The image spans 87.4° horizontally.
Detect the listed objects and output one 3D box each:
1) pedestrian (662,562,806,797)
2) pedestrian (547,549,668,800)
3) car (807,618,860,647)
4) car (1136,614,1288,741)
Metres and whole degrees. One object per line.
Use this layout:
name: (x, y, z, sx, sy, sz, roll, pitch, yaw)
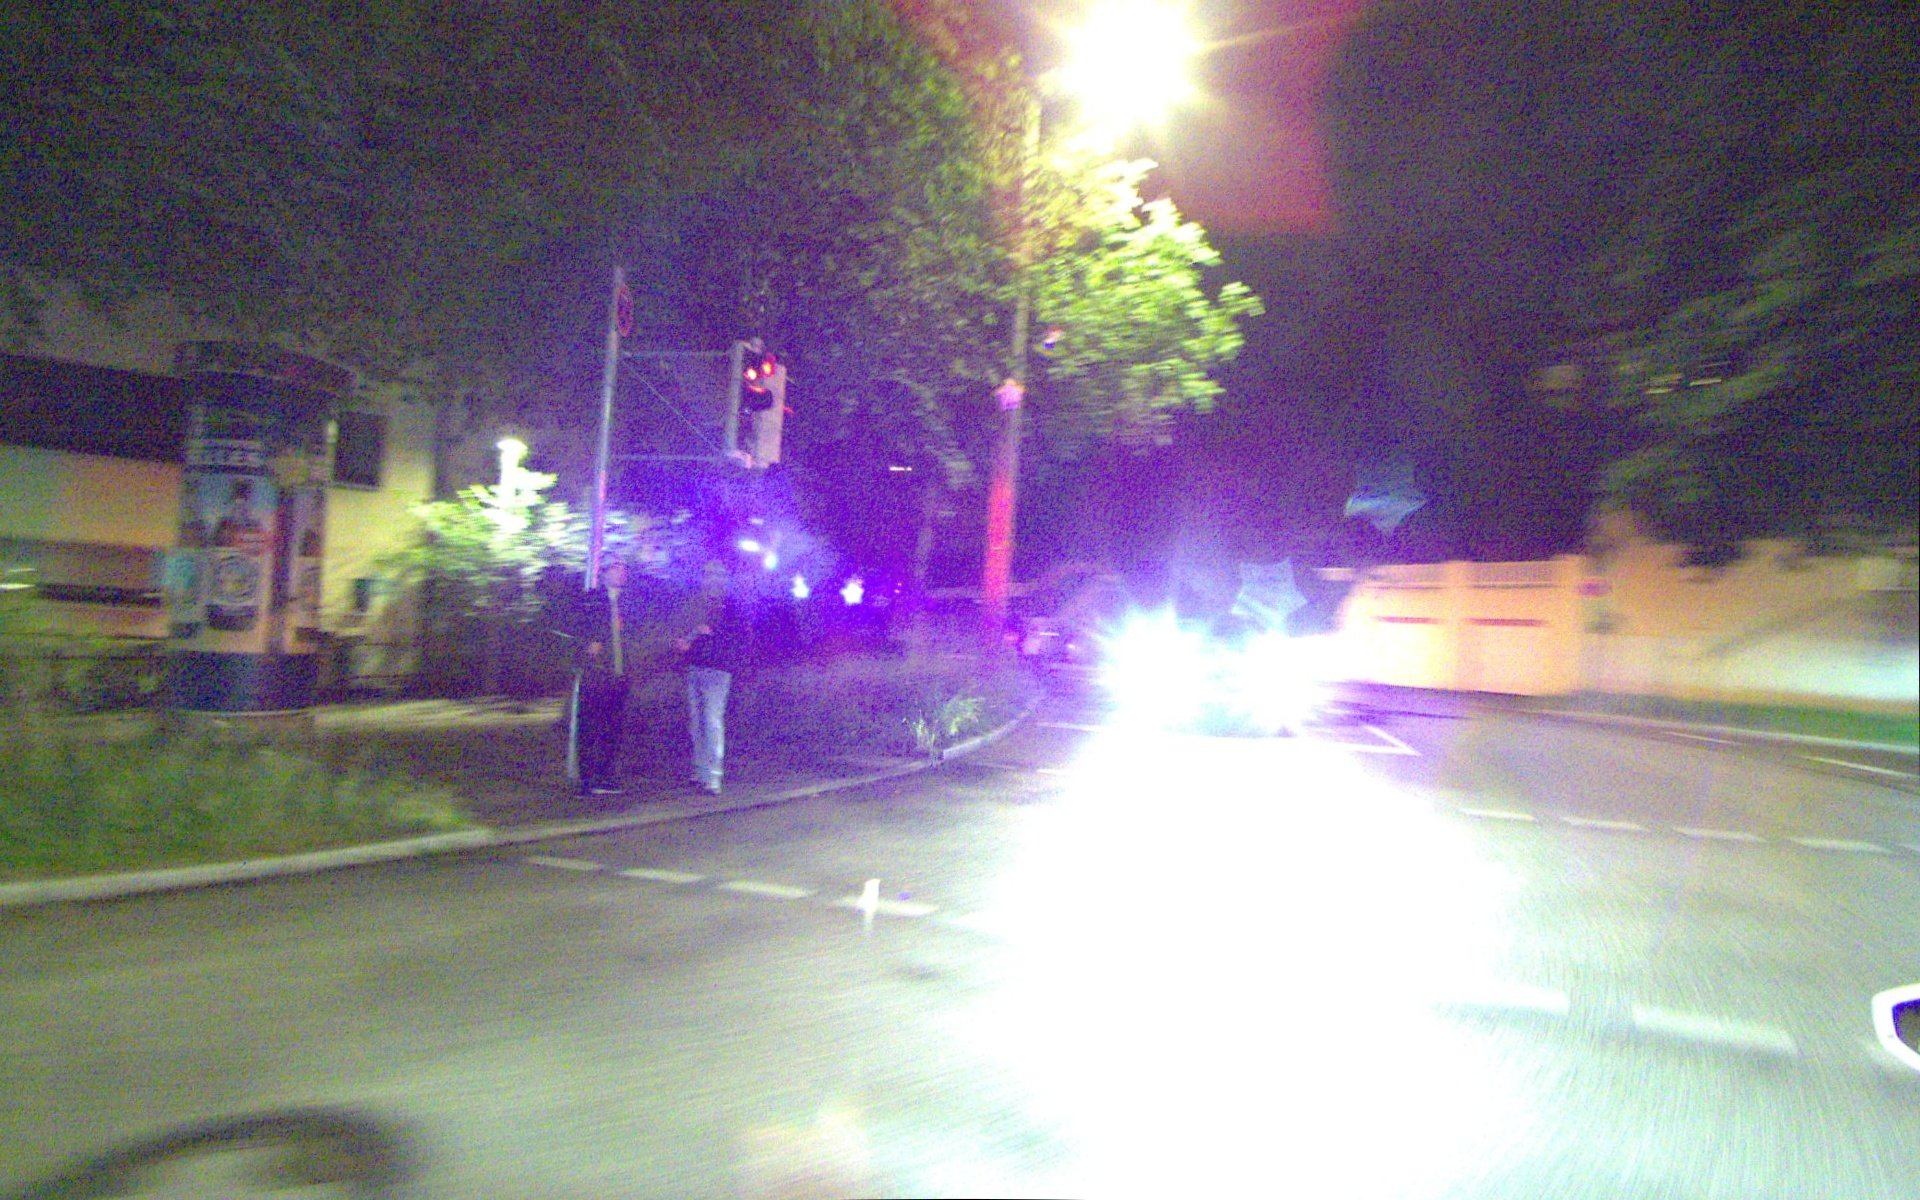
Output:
pedestrian: (-1.828, 0.603, 8.217, 0.714, 1.793, 0.965, 1, 0, 22)
pedestrian: (-2.688, 0.539, 7.680, 0.515, 1.816, 0.690, 1, 0, 36)
car: (-8.004, 2.032, 63.216, 1.739, 1.614, 4.697, 7, -4, -26)
car: (3.372, 0.940, 14.098, 1.696, 1.449, 4.292, 1, 0, 9)
